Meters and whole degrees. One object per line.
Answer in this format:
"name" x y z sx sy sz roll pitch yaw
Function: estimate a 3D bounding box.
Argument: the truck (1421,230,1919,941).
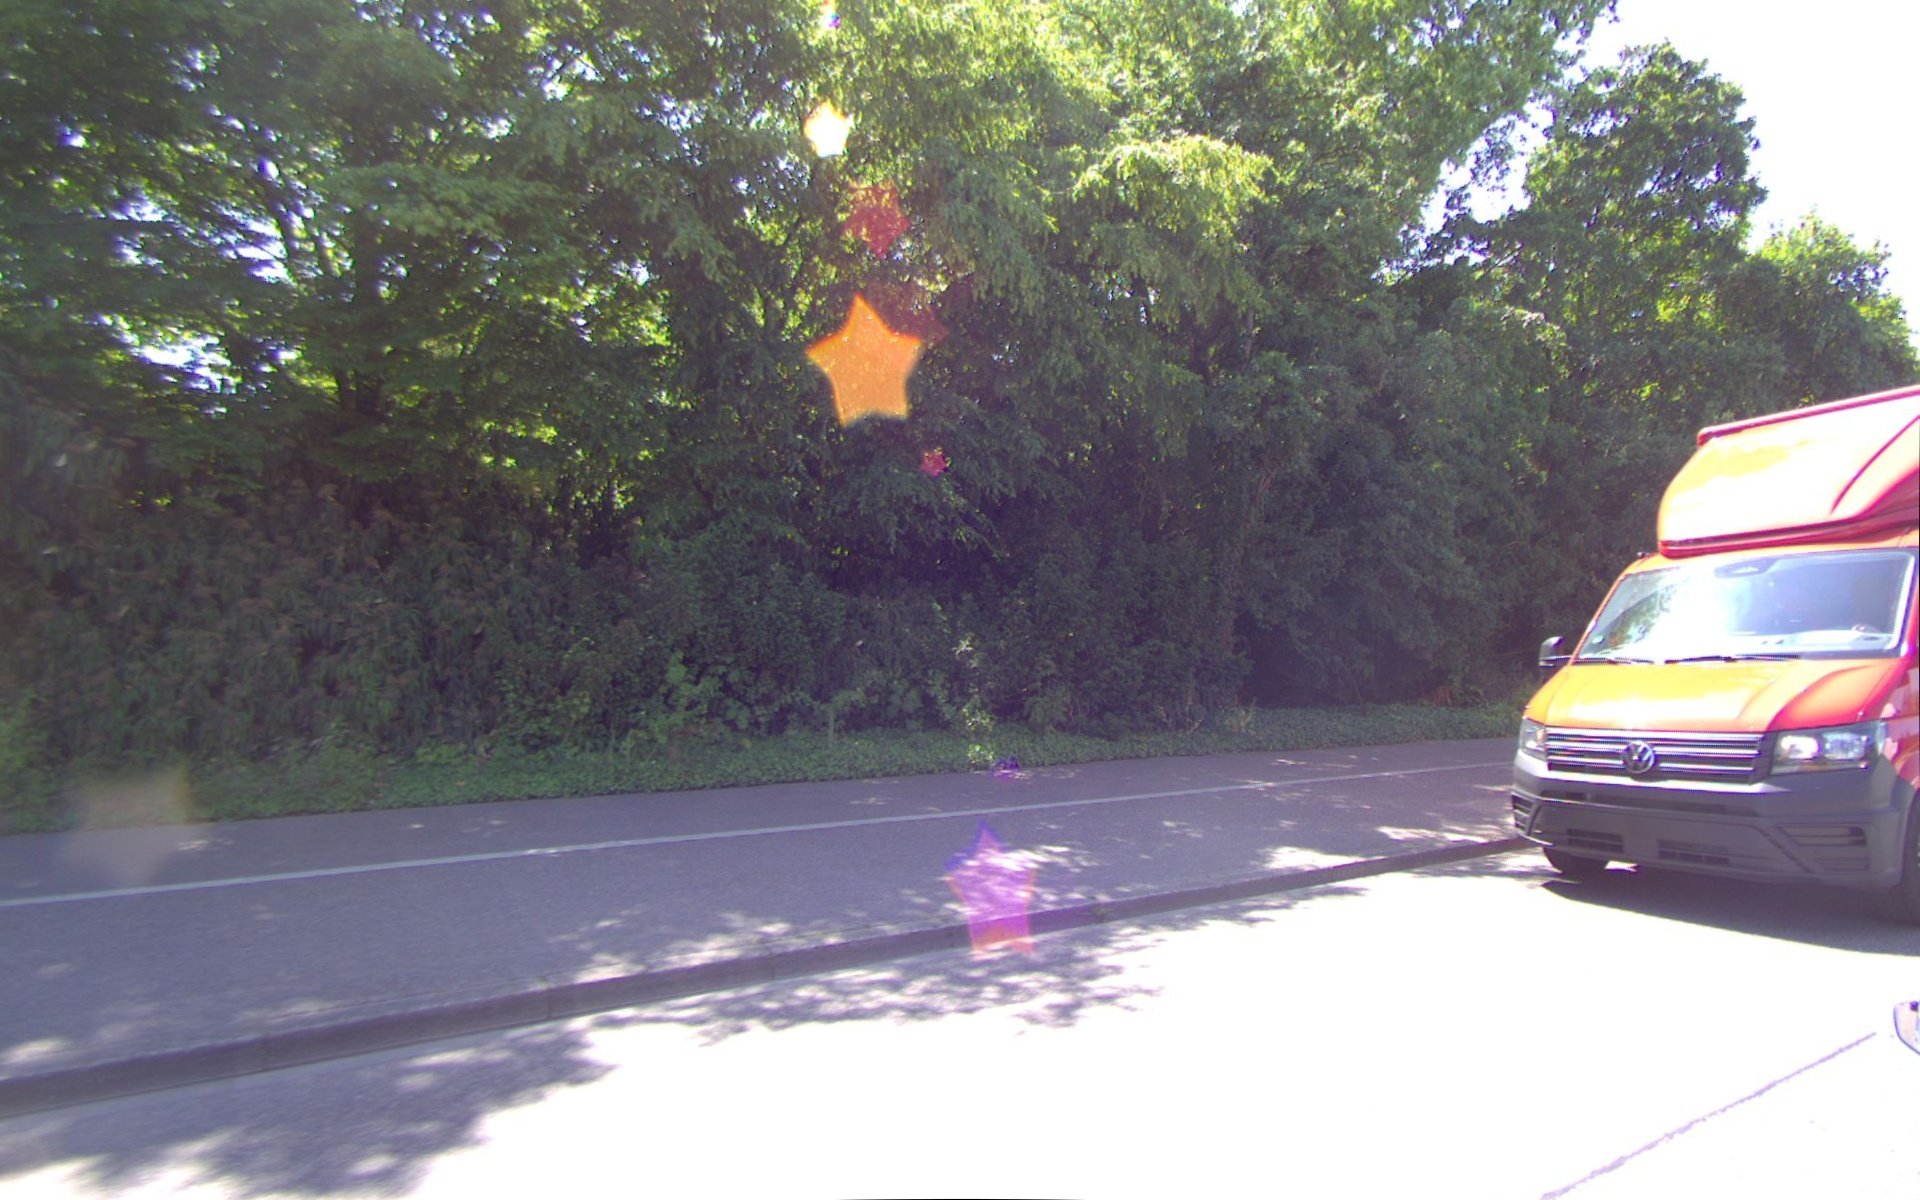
"truck" 6.881 0.070 7.677 7.075 3.484 2.313 2 -5 -30
